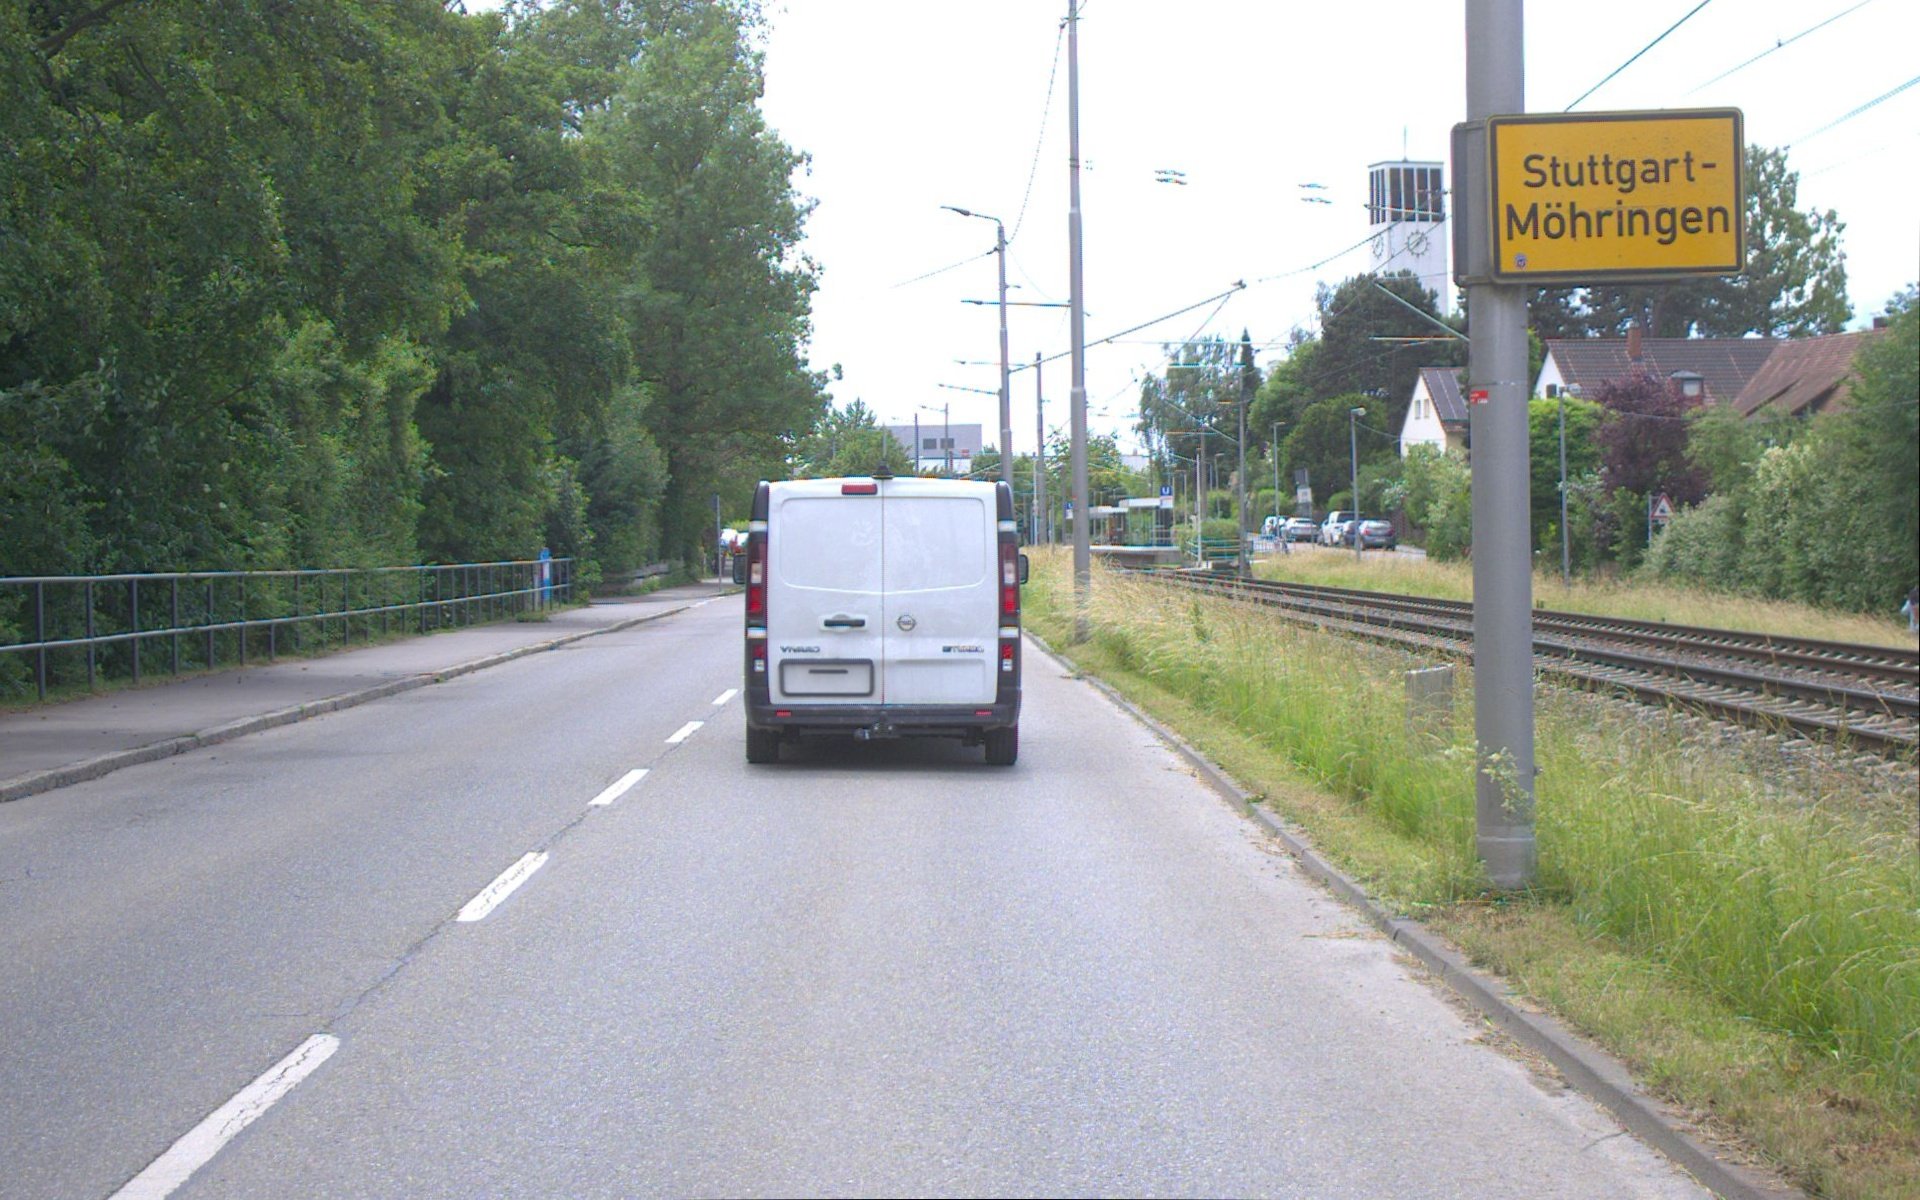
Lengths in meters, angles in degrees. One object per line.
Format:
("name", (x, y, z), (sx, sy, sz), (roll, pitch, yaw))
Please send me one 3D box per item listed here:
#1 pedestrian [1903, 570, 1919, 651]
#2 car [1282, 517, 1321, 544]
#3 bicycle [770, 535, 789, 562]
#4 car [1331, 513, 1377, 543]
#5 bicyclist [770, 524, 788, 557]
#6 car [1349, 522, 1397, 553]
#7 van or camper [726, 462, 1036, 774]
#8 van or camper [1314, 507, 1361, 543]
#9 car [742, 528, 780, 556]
("pedestrian", (17.022, 0.186, 60.554), (0.598, 1.425, 0.666), (1, 1, 0))
("car", (20.101, -4.103, 202.713), (1.883, 1.517, 4.000), (-1, 1, 0))
("bicycle", (-8.592, -2.459, 163.605), (0.755, 1.222, 2.308), (-3, 1, -1))
("car", (20.187, -3.698, 176.286), (1.883, 1.517, 4.000), (-1, 1, 0))
("bicyclist", (-8.598, -2.838, 163.506), (0.778, 1.544, 0.870), (-1, 1, -1))
("car", (20.431, -3.101, 170.241), (1.883, 1.517, 4.000), (-1, 1, 0))
("van or camper", (-0.530, 0.089, 24.529), (1.993, 2.007, 4.446), (1, 1, 0))
("van or camper", (19.872, -3.957, 181.004), (1.905, 1.819, 5.048), (-1, 1, 0))
("car", (-11.130, -3.244, 192.088), (1.736, 1.499, 4.479), (-3, 2, -7))
